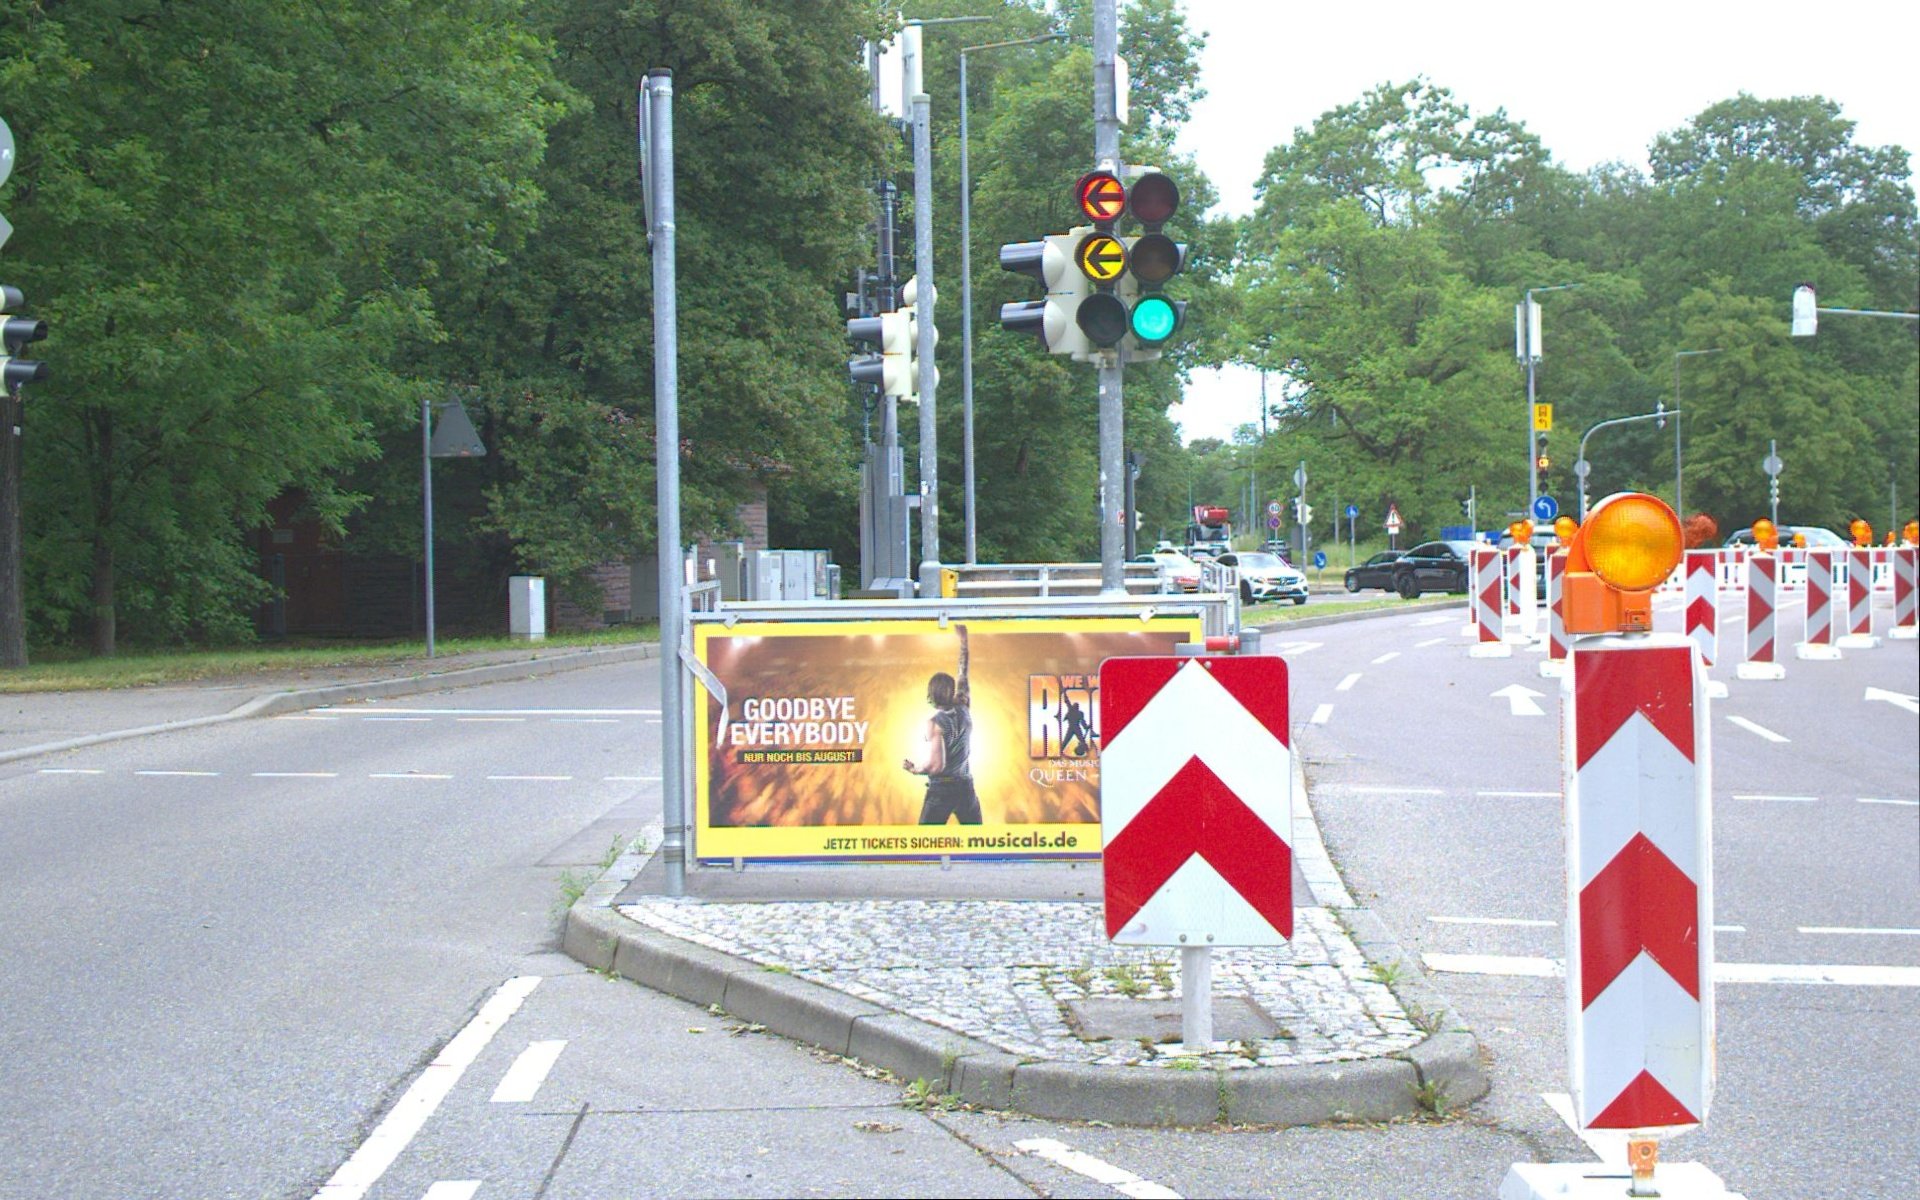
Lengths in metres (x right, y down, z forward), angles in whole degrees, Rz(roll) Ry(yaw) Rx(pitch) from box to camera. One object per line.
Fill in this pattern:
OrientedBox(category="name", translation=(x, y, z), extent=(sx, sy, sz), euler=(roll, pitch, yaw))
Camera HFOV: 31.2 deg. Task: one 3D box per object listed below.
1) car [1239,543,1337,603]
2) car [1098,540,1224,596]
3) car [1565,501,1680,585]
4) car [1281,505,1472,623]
OrientedBox(category="car", translation=(9.943, -0.802, 103.893), extent=(1.995, 1.744, 4.575), euler=(1, 1, 18))
OrientedBox(category="car", translation=(6.849, -1.097, 117.132), extent=(1.994, 1.875, 3.998), euler=(0, 1, -43))
OrientedBox(category="car", translation=(14.172, -1.190, 73.389), extent=(1.798, 1.732, 3.699), euler=(1, 1, 21))
OrientedBox(category="car", translation=(6.389, -0.541, 52.403), extent=(1.996, 1.711, 3.996), euler=(1, 1, 21))
